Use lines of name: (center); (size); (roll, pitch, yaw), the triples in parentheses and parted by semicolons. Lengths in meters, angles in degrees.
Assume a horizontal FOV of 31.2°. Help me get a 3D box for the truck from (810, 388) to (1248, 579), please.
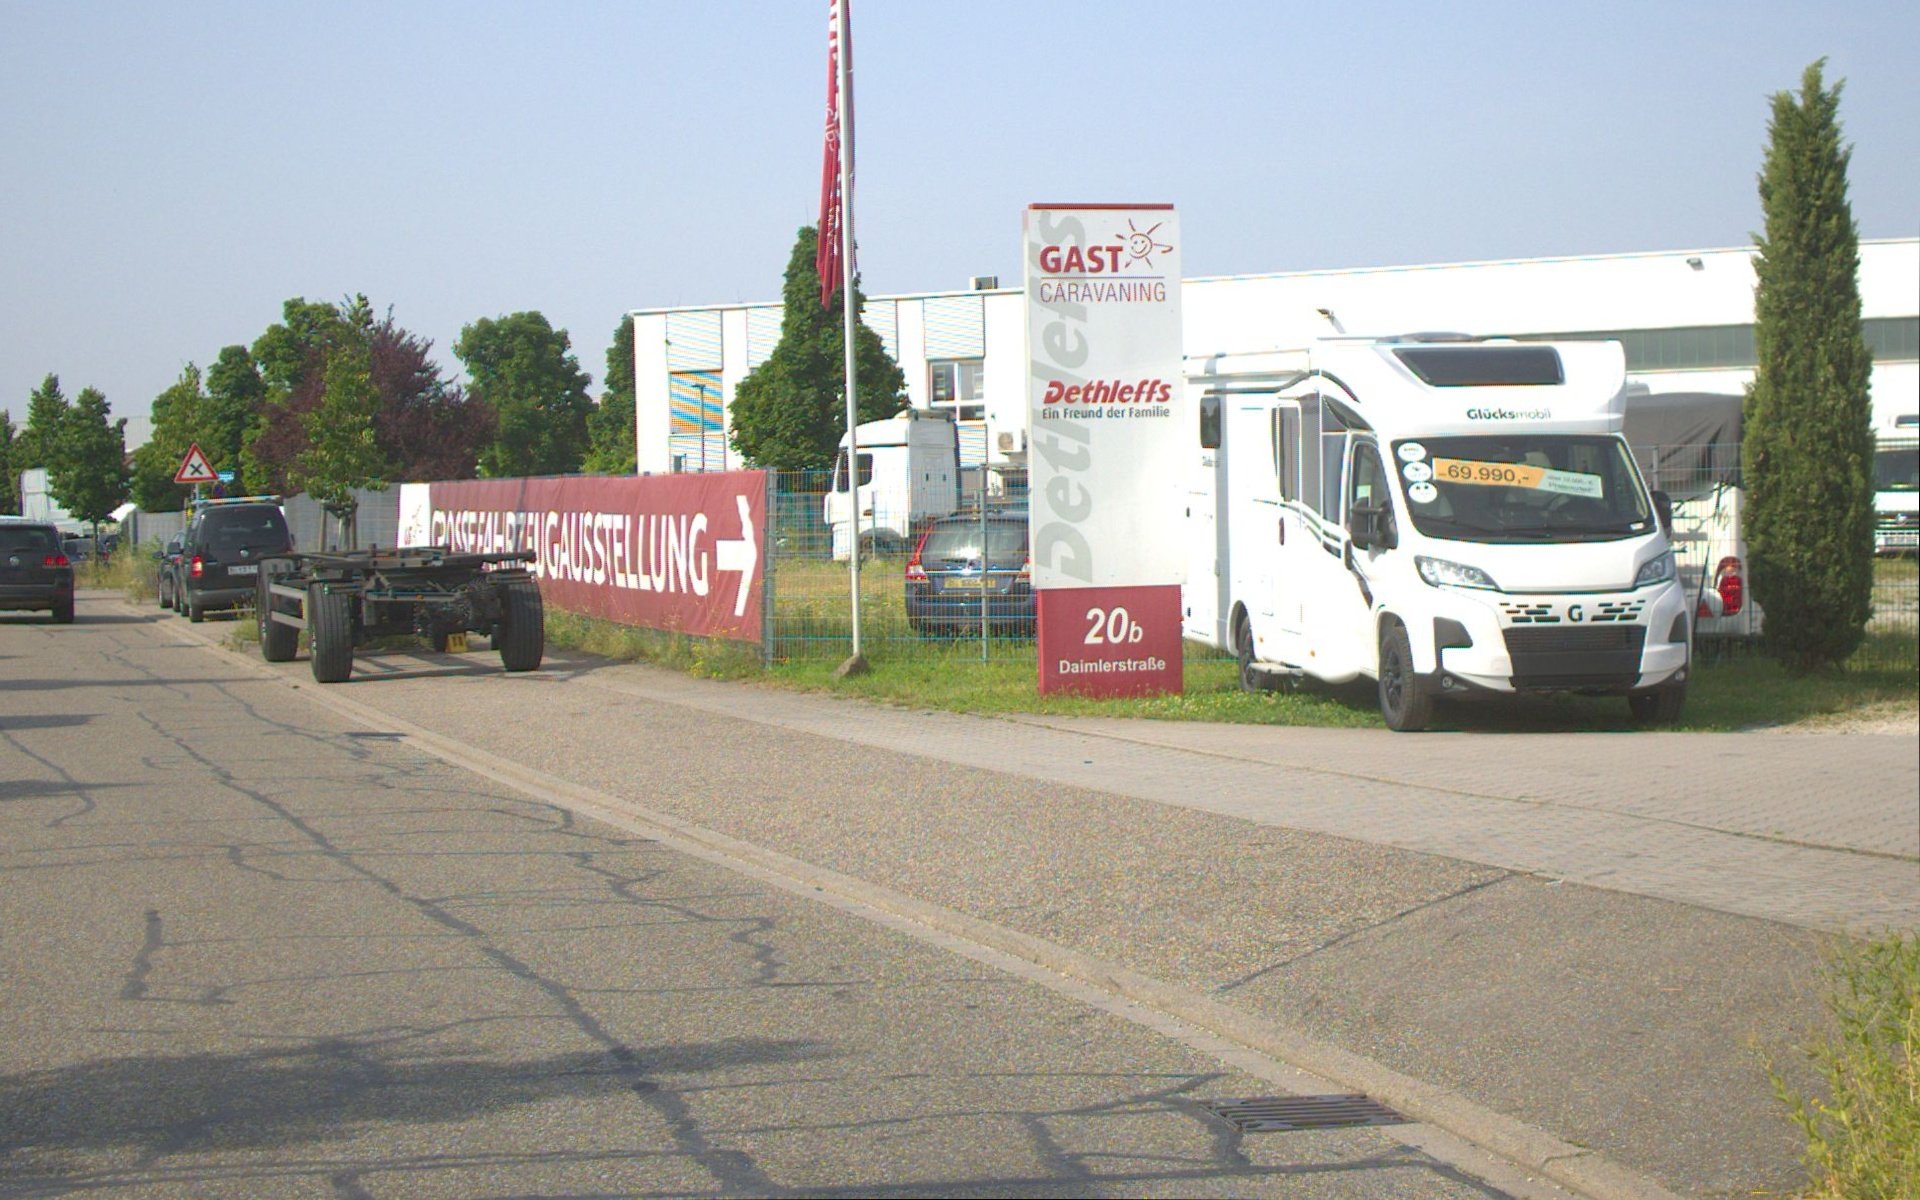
truck: (1.448, -2.488, 74.557); (9.297, 3.958, 2.455); (0, 2, 26)

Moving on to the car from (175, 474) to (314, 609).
car: (-11.613, -0.991, 55.651); (1.818, 1.971, 4.002); (-5, 3, -15)

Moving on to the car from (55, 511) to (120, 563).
car: (-26.655, -1.940, 104.953); (1.818, 1.444, 3.802); (-3, 3, -15)

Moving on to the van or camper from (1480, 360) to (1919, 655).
van or camper: (7.337, -0.950, 33.218); (2.487, 2.550, 6.616); (0, 3, 28)

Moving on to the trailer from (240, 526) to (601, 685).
trailer: (-6.294, -0.054, 38.743); (2.622, 1.383, 9.458); (-4, 2, -17)

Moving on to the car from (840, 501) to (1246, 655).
car: (0.921, -0.273, 36.466); (2.171, 1.471, 3.990); (1, 3, 44)

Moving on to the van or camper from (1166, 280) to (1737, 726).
van or camper: (3.491, -0.765, 26.304); (2.330, 2.933, 6.973); (-1, 2, -9)

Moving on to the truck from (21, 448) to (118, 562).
truck: (-29.896, -3.188, 115.236); (2.886, 3.573, 8.064); (-3, 2, -15)

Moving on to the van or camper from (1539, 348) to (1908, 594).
van or camper: (10.648, -1.800, 47.227); (2.954, 3.073, 7.958); (0, 3, 28)

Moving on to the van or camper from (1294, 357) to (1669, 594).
van or camper: (7.575, -1.803, 48.851); (2.802, 3.073, 7.958); (0, 3, 28)

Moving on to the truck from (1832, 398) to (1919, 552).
truck: (17.183, -2.159, 58.752); (2.454, 2.462, 7.990); (0, 2, 29)

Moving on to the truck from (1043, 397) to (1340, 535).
truck: (4.543, -2.566, 65.609); (2.454, 2.462, 7.990); (0, 2, 29)

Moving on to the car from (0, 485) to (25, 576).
car: (-21.808, -1.564, 75.941); (1.993, 1.893, 4.469); (0, 3, -12)

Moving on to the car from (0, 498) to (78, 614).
car: (-15.652, -0.759, 56.700); (1.993, 1.798, 4.002); (-1, 2, -13)
